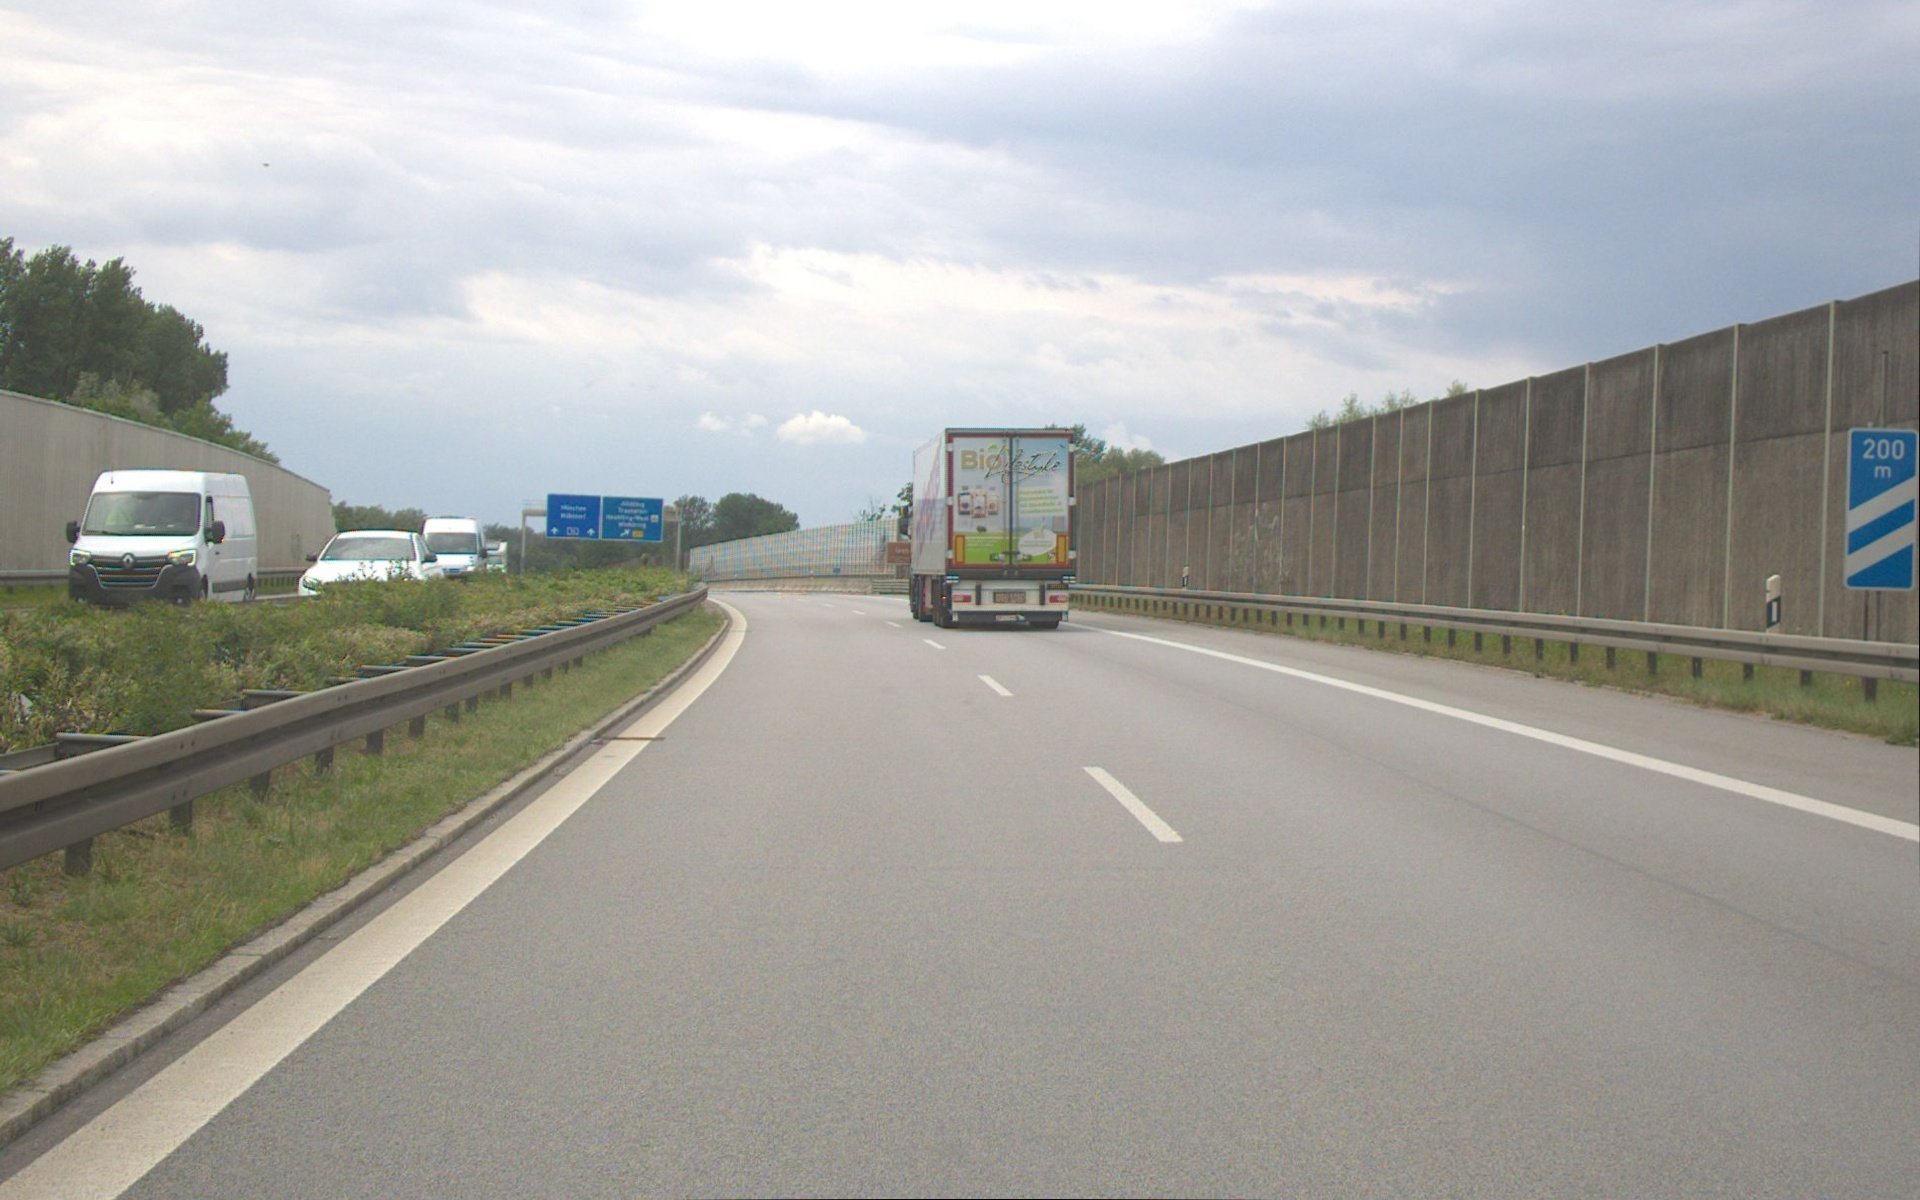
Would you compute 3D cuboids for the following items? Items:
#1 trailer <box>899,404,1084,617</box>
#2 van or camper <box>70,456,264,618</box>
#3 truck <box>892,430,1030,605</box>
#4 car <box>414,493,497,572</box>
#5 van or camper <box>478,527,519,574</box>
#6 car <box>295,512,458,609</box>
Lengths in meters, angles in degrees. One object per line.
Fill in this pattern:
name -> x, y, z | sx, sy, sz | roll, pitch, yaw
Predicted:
trailer -> 0.498, -1.818, 74.711 | 2.792, 4.160, 14.105 | 0, 0, -4
van or camper -> -12.632, -1.018, 55.131 | 1.993, 2.433, 6.310 | 0, 1, -4
truck -> -0.036, -1.899, 81.037 | 2.755, 3.946, 5.678 | 0, 0, -5
car -> -16.147, -2.161, 110.263 | 2.111, 2.447, 5.684 | 0, 1, -3
van or camper -> -28.147, -3.012, 209.717 | 2.254, 2.769, 5.756 | 1, 1, -6
car -> -9.119, -0.638, 54.056 | 1.805, 1.409, 4.968 | 1, 1, -1
